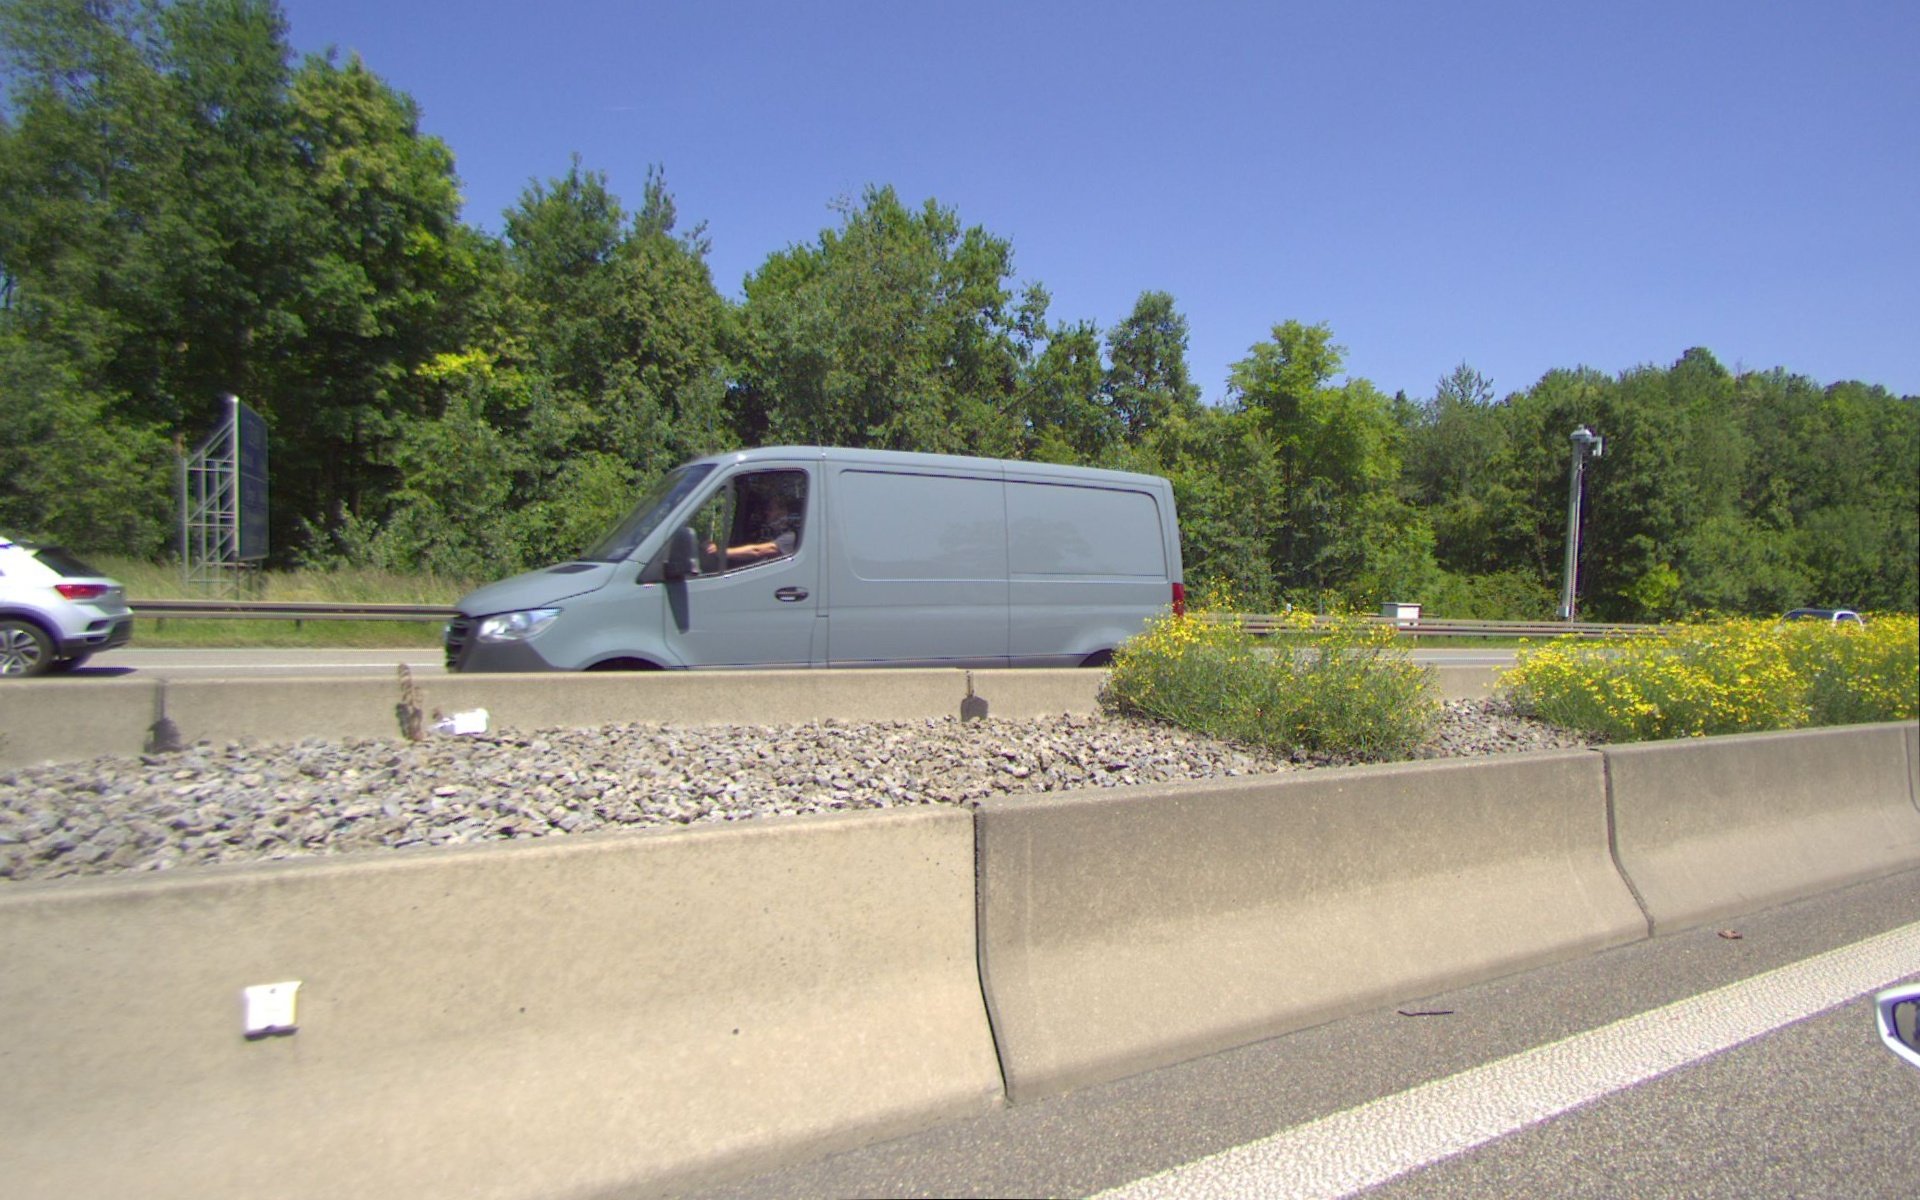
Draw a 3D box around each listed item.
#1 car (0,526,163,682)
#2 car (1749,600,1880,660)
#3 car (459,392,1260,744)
[{"bbox_3d":[-11.405,0.005,10.884,4.070,1.650,1.767,2,0,-31],"label":"car"},{"bbox_3d":[27.541,0.955,32.357,4.271,1.789,1.872,1,1,-31],"label":"car"},{"bbox_3d":[-0.679,-0.112,8.262,6.104,2.040,2.314,2,0,-27],"label":"car"}]
